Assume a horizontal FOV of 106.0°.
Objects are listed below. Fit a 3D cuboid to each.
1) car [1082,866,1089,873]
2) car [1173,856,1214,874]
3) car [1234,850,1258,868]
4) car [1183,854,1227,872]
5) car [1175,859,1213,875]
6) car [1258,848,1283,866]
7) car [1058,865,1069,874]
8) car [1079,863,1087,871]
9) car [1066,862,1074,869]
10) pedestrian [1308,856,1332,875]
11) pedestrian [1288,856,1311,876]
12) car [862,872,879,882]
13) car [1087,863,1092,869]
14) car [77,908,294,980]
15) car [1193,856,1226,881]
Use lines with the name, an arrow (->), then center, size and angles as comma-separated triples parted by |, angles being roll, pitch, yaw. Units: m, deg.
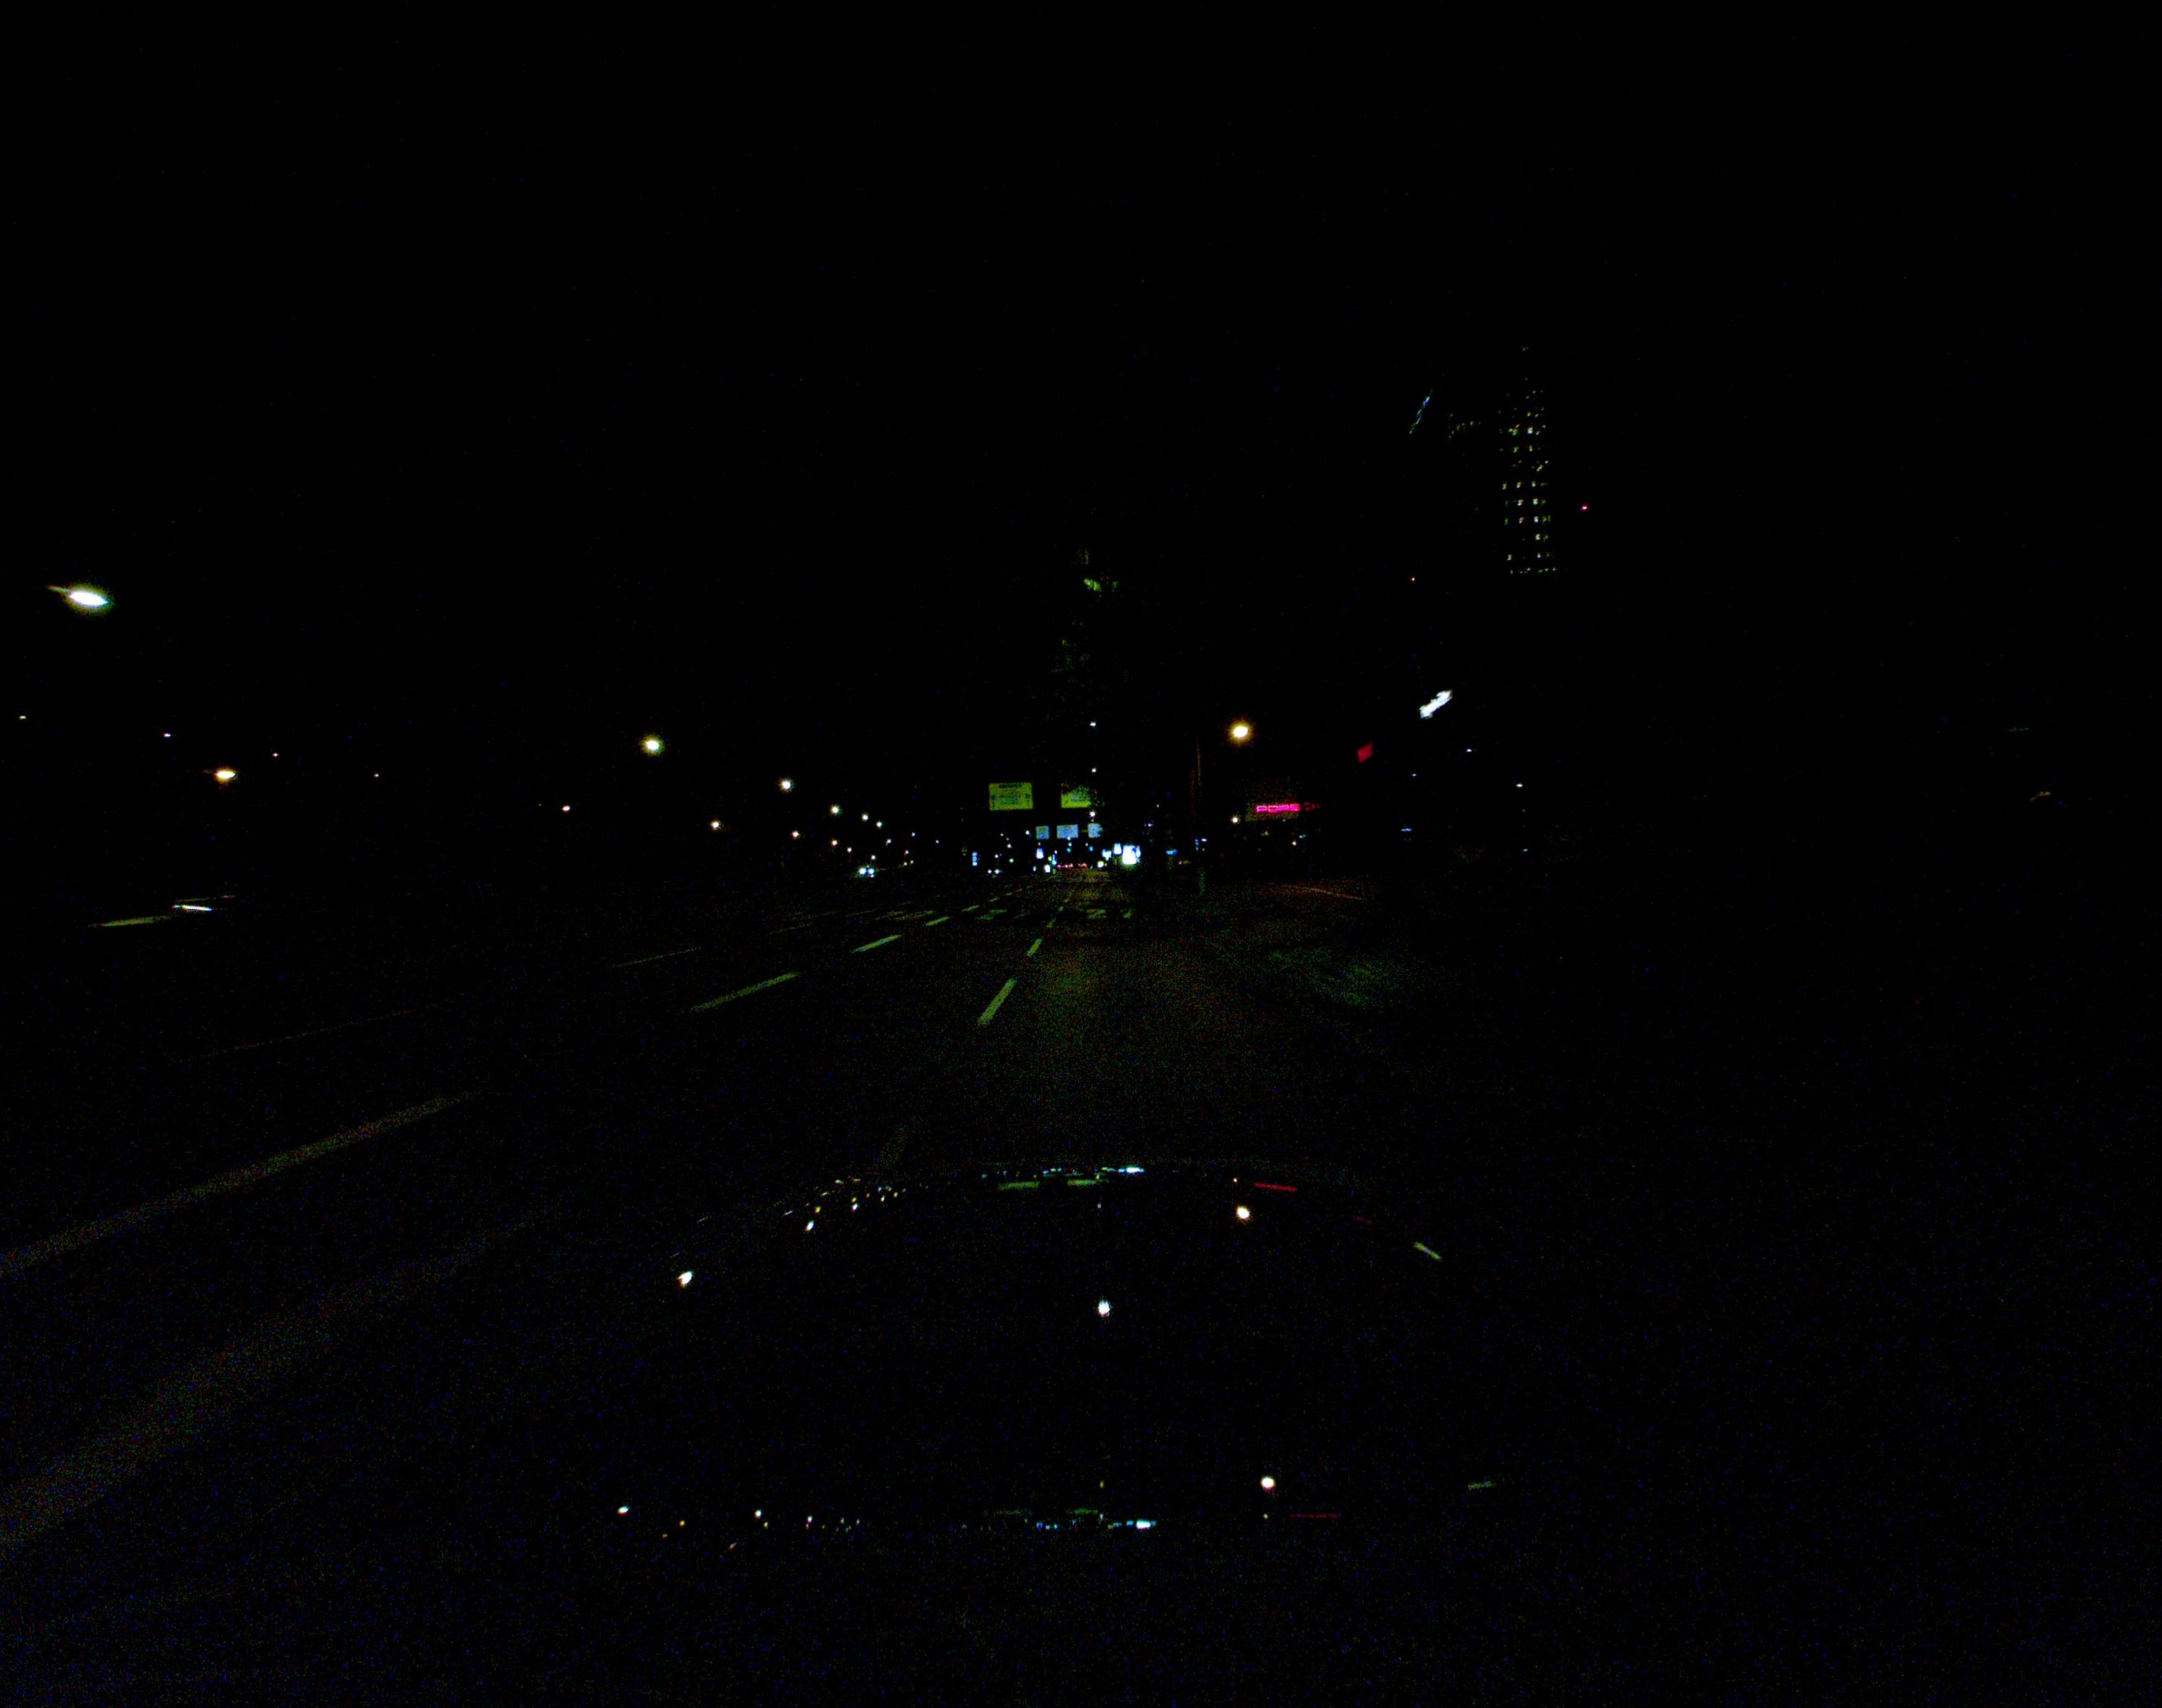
car -> 1.250, 4.216, 223.190 | 1.775, 1.728, 3.999 | -1, -2, 1
car -> 11.665, 1.166, 84.852 | 3.978, 1.856, 1.819 | -1, -2, -3
car -> 14.898, 0.494, 73.743 | 1.882, 1.511, 3.643 | -1, -2, 8
car -> 10.997, 0.797, 72.417 | 3.616, 1.451, 1.705 | -1, -2, -3
car -> 11.110, 1.254, 80.127 | 3.502, 1.508, 1.733 | -1, -2, -3
car -> 17.456, 0.320, 74.989 | 1.882, 1.511, 3.643 | -1, -2, 8
car -> -3.461, 3.123, 162.854 | 1.959, 1.711, 4.003 | -1, -2, 3
car -> 0.440, 3.472, 212.806 | 1.987, 2.014, 3.999 | -1, -2, 1
car -> -3.156, 3.191, 224.797 | 1.986, 1.596, 4.000 | -2, -2, 1
pedestrian -> 13.100, 0.651, 44.718 | 0.999, 1.008, 0.767 | 0, -2, -15
pedestrian -> 11.981, 0.661, 44.712 | 0.902, 1.038, 0.776 | -4, -2, 44
car -> -34.031, 3.737, 131.638 | 1.619, 1.481, 3.680 | -1, -2, 2
car -> 2.738, 3.919, 262.197 | 1.831, 1.838, 3.999 | -1, -2, 1
car -> -25.644, 2.509, 23.573 | 1.794, 1.695, 4.000 | -1, -1, 1
car -> 10.590, 1.241, 67.001 | 1.977, 1.945, 4.018 | -2, -2, 18
